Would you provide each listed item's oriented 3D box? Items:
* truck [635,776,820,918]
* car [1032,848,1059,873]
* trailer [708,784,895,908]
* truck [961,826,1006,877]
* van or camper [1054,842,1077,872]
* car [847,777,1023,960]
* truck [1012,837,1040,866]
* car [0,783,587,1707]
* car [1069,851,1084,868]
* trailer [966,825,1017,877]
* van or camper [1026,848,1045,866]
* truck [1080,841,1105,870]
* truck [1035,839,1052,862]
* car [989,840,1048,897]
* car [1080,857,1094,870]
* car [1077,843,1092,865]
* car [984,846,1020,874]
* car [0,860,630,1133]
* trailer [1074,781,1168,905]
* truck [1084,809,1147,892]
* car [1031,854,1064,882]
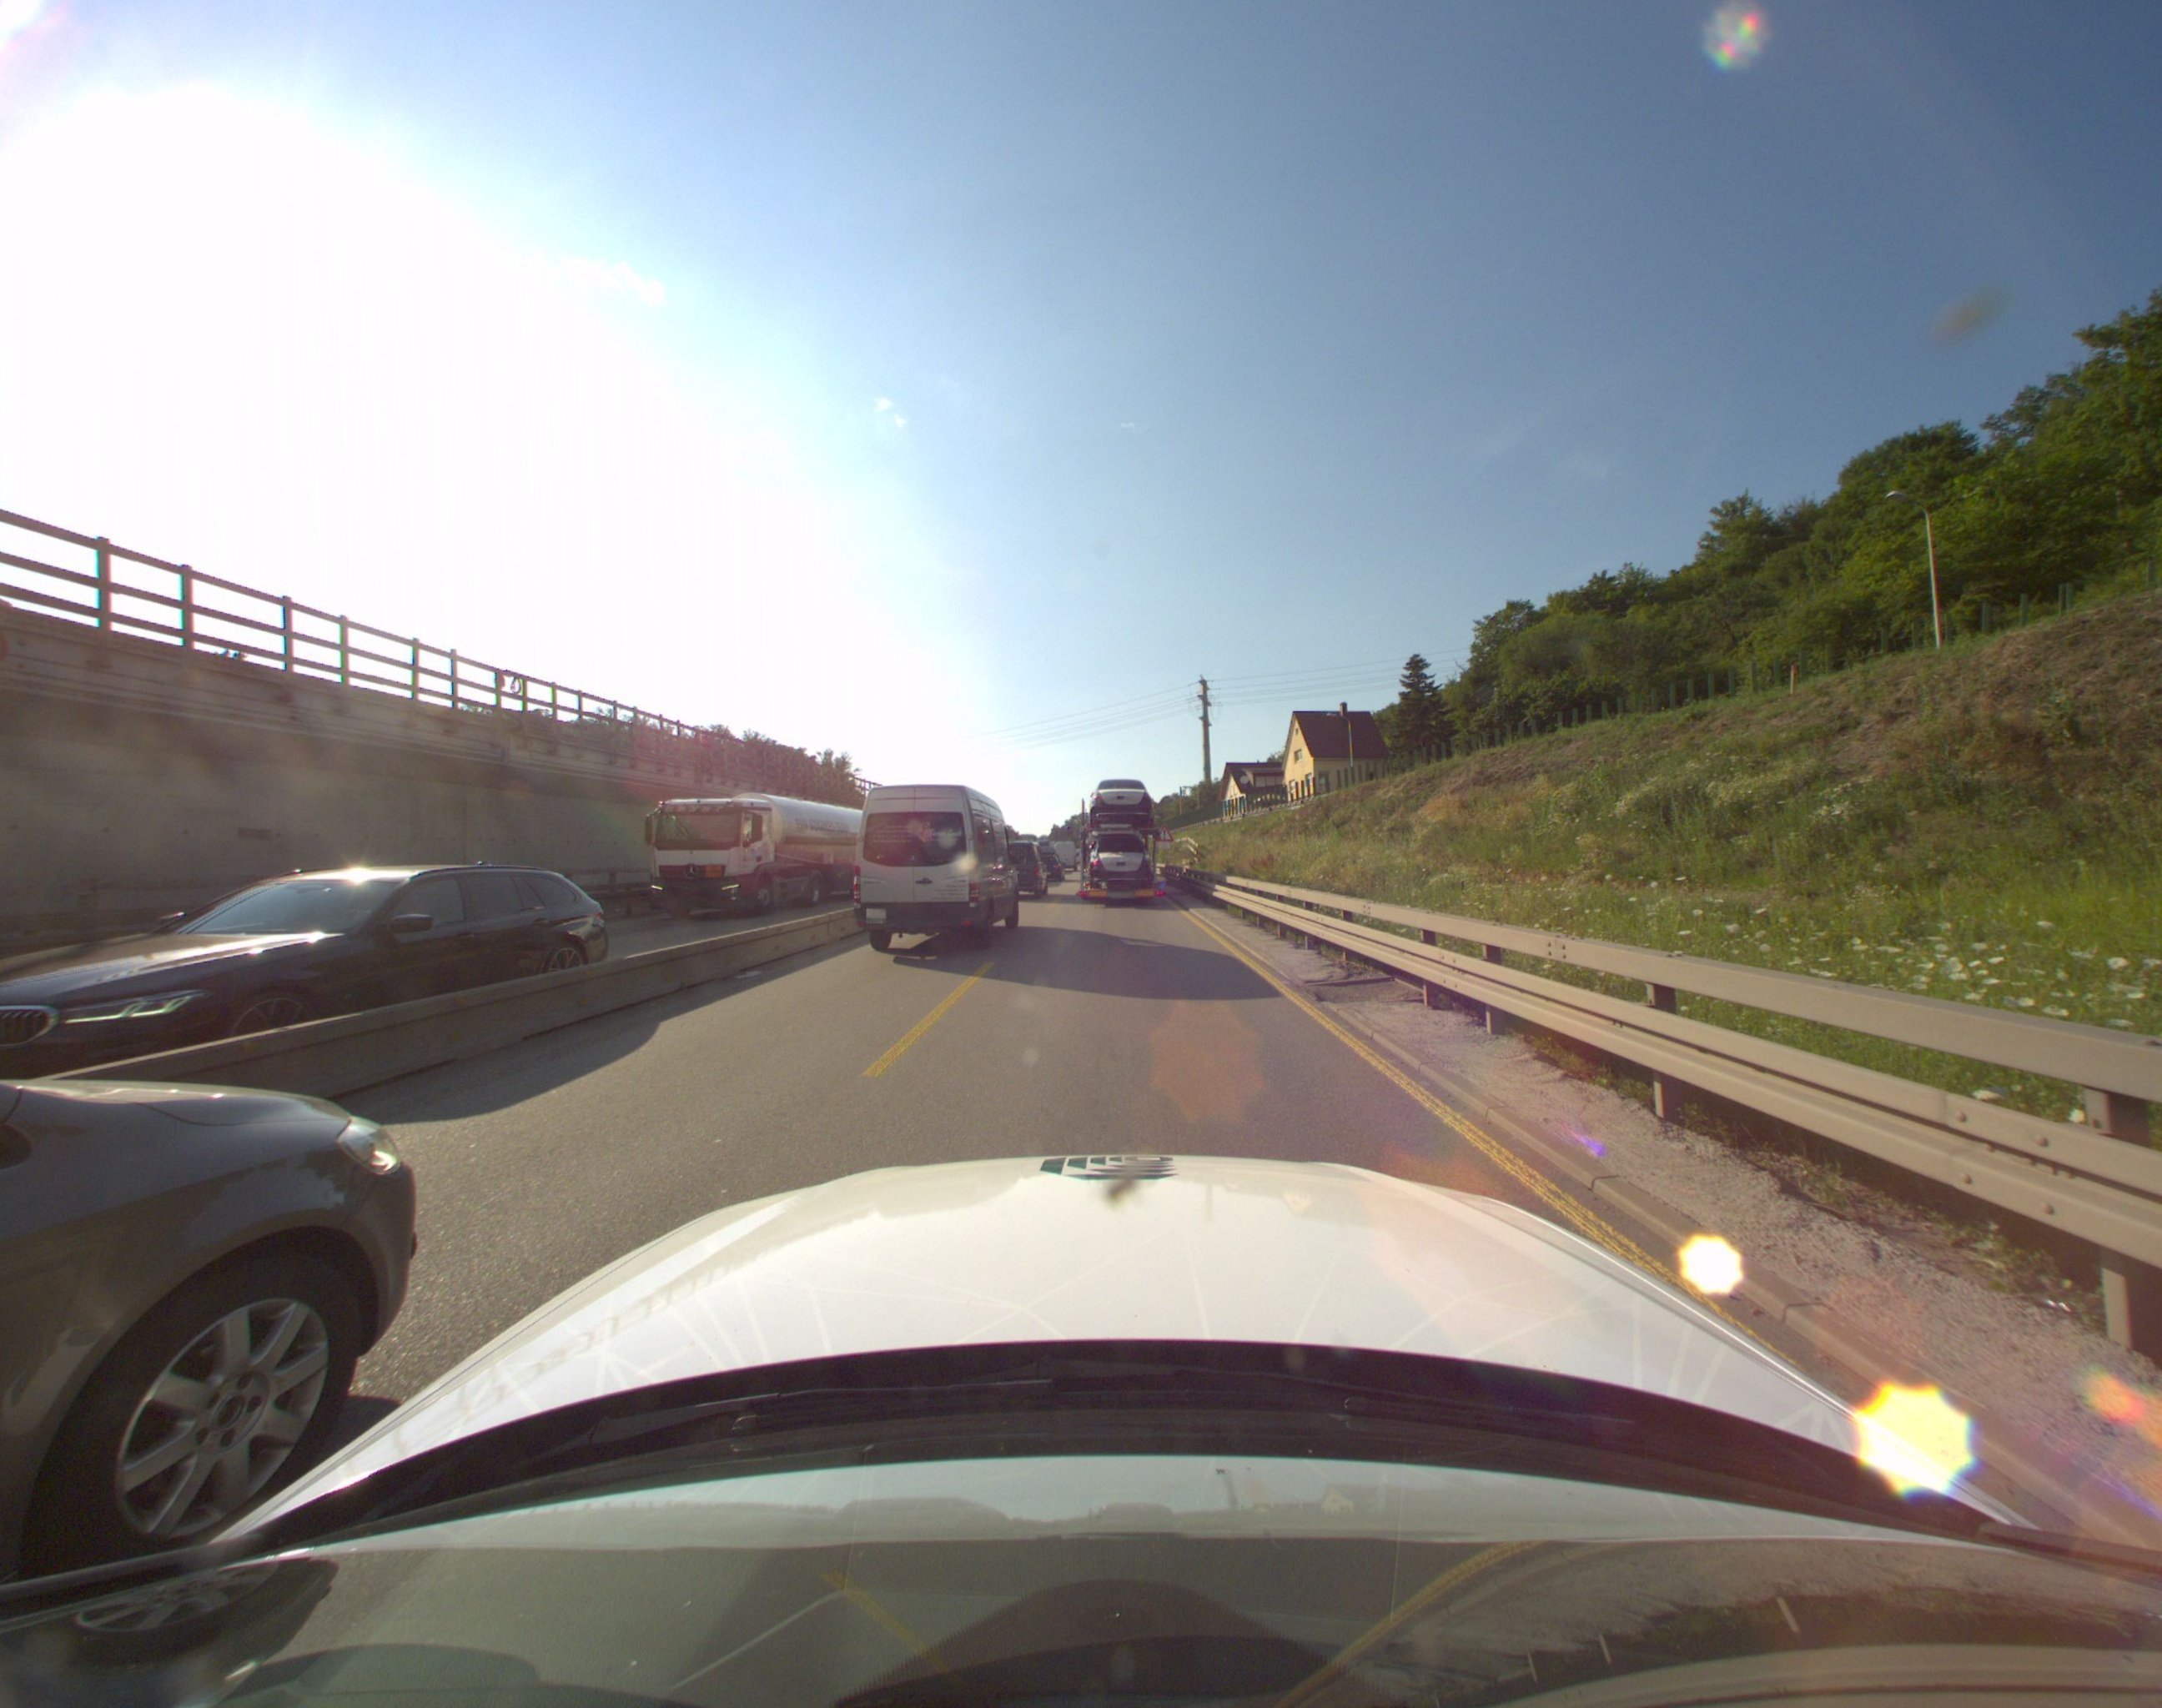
[{"bbox_3d":[-9.357,-0.131,22.282,2.539,3.409,5.532,0,-1,1],"label":"truck"},{"bbox_3d":[-3.702,0.695,85.216,2.463,2.534,4.000,-1,-1,1],"label":"car"},{"bbox_3d":[-9.187,-0.147,28.548,2.547,3.527,10.685,0,-1,2],"label":"trailer"},{"bbox_3d":[-7.932,-0.144,66.864,2.850,4.008,5.658,0,-1,1],"label":"truck"},{"bbox_3d":[-1.356,0.264,73.579,1.961,2.592,5.041,0,-1,1],"label":"van or camper"},{"bbox_3d":[-2.364,0.206,14.845,1.986,2.648,5.532,-2,0,1],"label":"car"},{"bbox_3d":[-7.005,-0.257,104.896,2.706,3.424,8.140,-4,-1,0],"label":"truck"},{"bbox_3d":[-2.658,0.680,0.778,1.674,1.588,4.272,-1,-1,1],"label":"car"},{"bbox_3d":[-0.561,0.643,102.779,1.879,2.100,3.766,-1,0,1],"label":"car"},{"bbox_3d":[-7.875,-0.158,73.773,2.903,4.240,13.769,0,-1,1],"label":"trailer"},{"bbox_3d":[-7.098,0.506,128.088,2.304,2.662,6.456,-3,0,1],"label":"van or camper"},{"bbox_3d":[2.090,0.257,140.245,4.049,4.679,10.597,-1,0,2],"label":"truck"},{"bbox_3d":[-7.144,-0.635,155.882,2.616,4.112,9.625,-4,0,0],"label":"truck"},{"bbox_3d":[-2.193,0.533,29.485,1.802,1.904,3.999,0,-1,0],"label":"car"},{"bbox_3d":[0.895,1.400,124.471,1.986,1.860,4.002,-1,-1,2],"label":"car"},{"bbox_3d":[0.771,0.019,189.433,3.435,5.035,9.649,-1,0,-1],"label":"car"},{"bbox_3d":[-4.838,0.370,50.356,1.635,1.645,4.689,0,-1,1],"label":"car"},{"bbox_3d":[-6.168,0.850,7.083,1.760,1.552,4.835,0,-1,0],"label":"car"},{"bbox_3d":[1.376,-0.230,30.977,2.672,3.535,15.293,0,-1,2],"label":"trailer"},{"bbox_3d":[1.599,-0.120,38.504,2.672,3.535,7.196,0,-1,2],"label":"truck"},{"bbox_3d":[-1.893,0.790,47.484,1.720,1.522,3.973,0,0,0],"label":"car"}]
